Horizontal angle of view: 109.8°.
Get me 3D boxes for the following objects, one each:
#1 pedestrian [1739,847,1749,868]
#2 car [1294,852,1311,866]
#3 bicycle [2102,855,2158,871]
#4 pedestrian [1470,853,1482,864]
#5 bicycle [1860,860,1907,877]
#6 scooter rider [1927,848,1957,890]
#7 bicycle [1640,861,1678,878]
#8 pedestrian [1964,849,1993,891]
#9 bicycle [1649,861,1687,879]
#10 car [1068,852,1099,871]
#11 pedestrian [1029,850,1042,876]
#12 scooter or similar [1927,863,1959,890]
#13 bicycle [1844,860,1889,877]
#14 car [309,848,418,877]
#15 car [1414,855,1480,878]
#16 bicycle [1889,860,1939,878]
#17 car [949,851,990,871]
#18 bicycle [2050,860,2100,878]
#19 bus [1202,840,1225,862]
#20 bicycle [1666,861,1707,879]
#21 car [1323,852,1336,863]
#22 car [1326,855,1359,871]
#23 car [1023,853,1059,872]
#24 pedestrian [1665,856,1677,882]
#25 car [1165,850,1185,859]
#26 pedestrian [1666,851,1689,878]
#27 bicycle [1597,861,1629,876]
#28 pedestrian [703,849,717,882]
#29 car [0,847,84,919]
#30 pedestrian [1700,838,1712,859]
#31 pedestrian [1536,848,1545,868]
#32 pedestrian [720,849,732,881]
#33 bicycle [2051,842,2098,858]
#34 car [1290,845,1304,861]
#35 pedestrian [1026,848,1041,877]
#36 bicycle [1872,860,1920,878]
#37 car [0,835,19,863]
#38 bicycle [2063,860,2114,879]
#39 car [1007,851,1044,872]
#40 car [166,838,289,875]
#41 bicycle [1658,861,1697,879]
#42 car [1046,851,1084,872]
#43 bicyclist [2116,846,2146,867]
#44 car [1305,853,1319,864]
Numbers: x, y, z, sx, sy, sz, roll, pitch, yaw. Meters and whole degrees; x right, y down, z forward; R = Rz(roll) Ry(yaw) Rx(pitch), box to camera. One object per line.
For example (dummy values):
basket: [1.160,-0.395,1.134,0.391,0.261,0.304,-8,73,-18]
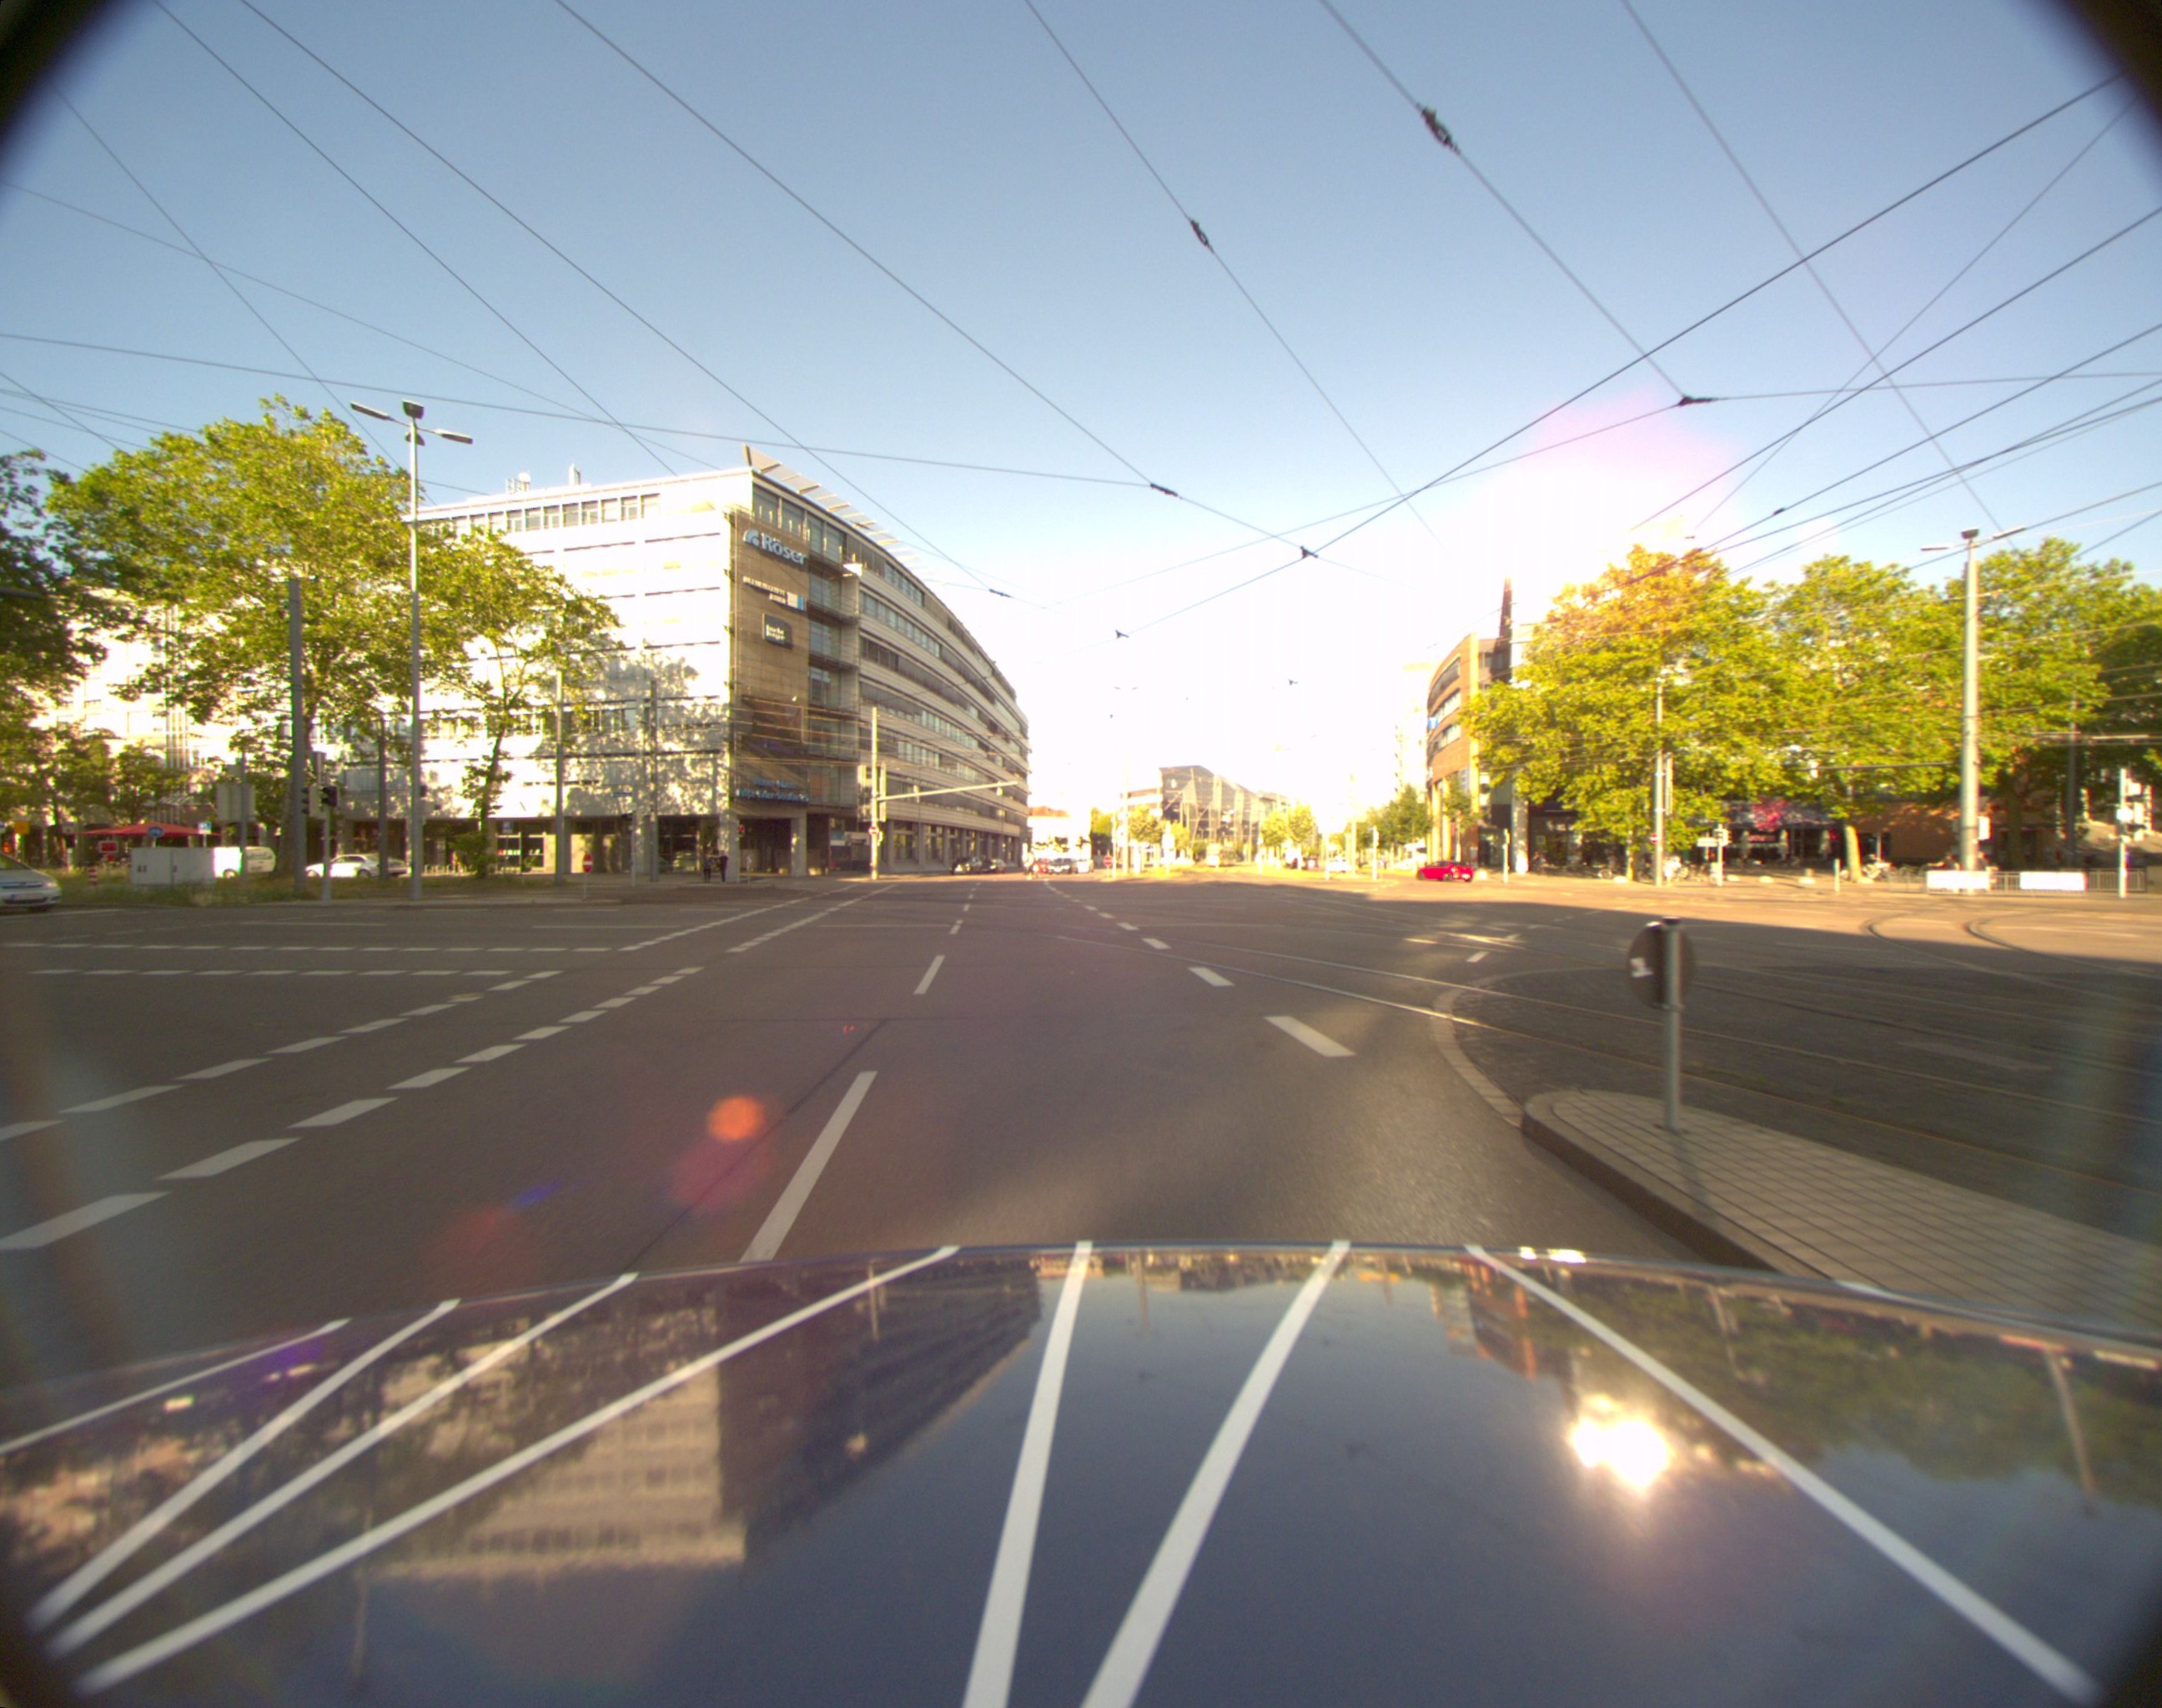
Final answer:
pedestrian: [52.520,0.302,60.229,0.542,1.660,0.572,1,1,38]
car: [26.469,0.636,90.762,1.615,1.593,4.183,3,0,21]
bicycle: [69.172,0.580,50.128,2.009,1.061,0.697,1,1,35]
pedestrian: [37.244,0.428,71.591,0.776,1.075,0.681,0,1,-3]
bicycle: [50.403,0.911,47.736,1.944,1.057,0.784,0,1,9]
scooter rider: [37.940,0.666,33.483,0.587,1.822,0.764,1,1,22]
bicycle: [37.870,1.021,49.830,1.841,1.123,0.776,0,1,4]
pedestrian: [38.989,0.694,33.010,0.671,1.786,0.571,1,1,35]
bicycle: [37.832,1.011,48.986,1.841,1.123,0.776,0,1,4]
car: [0.228,0.690,69.915,1.901,1.611,4.176,0,-1,14]
pedestrian: [-3.010,0.597,50.116,0.846,1.678,0.648,0,1,-2]
scooter or similar: [37.967,0.987,33.486,0.454,1.172,1.162,1,1,23]
bicycle: [50.472,0.925,48.841,1.944,1.057,0.784,0,1,9]
car: [-39.324,0.429,41.712,4.321,1.543,1.860,0,1,3]
car: [23.960,0.804,49.896,1.693,1.419,3.994,0,0,-16]
bicycle: [50.297,0.889,45.893,1.944,1.057,0.784,0,1,9]
car: [-9.059,0.560,62.187,1.901,1.611,4.176,0,-1,14]
bicycle: [59.782,0.923,45.693,1.944,1.057,0.579,0,1,9]
bus: [20.740,-0.401,119.130,2.723,3.388,9.673,0,-1,5]
bicycle: [37.723,0.991,47.351,1.841,1.123,0.776,0,1,4]
car: [38.821,0.531,118.494,1.861,1.622,4.270,0,0,20]
car: [23.775,0.797,69.261,1.635,1.443,4.000,0,0,0]
car: [-3.397,0.715,65.391,1.901,1.611,4.176,0,-1,14]
pedestrian: [34.586,0.878,44.520,0.483,1.529,0.574,1,1,44]
car: [20.582,0.095,166.492,3.999,1.849,1.999,0,1,-6]
pedestrian: [39.300,0.701,50.063,0.892,1.754,0.731,1,0,7]
bicycle: [36.049,0.989,51.464,1.697,1.030,0.549,0,1,8]
pedestrian: [-20.501,0.616,42.009,0.589,1.813,0.543,0,1,-14]
car: [-26.127,0.641,17.424,4.321,1.588,1.736,0,1,1]
pedestrian: [50.495,-0.455,61.372,0.569,1.660,0.544,1,1,23]
pedestrian: [39.221,0.346,64.912,0.594,1.647,0.594,1,1,26]
pedestrian: [-19.714,0.604,42.177,0.547,1.813,0.374,0,1,-14]
bicycle: [68.133,-0.264,52.115,2.011,1.061,0.696,0,1,11]
car: [33.359,-0.096,117.287,1.996,2.465,5.983,0,-1,17]
pedestrian: [-3.097,0.541,49.405,0.966,1.832,0.698,0,1,-3]
bicycle: [50.269,0.901,46.905,1.944,1.057,0.784,0,1,9]
car: [-61.659,-0.274,41.693,4.321,1.543,1.860,0,1,3]
bicycle: [59.555,0.912,44.931,1.944,1.057,0.579,0,1,9]
car: [-4.423,0.615,61.406,1.901,1.611,3.870,0,-1,14]
car: [-46.392,0.127,41.370,4.382,2.002,2.000,0,1,0]
bicycle: [37.789,1.001,48.165,1.841,1.123,0.776,0,1,4]
car: [-1.234,0.573,60.768,1.901,1.611,4.529,0,-1,14]
bicyclist: [69.249,0.161,50.101,0.956,1.337,0.676,1,1,35]
car: [34.978,0.623,115.097,1.861,1.622,4.269,0,0,18]
